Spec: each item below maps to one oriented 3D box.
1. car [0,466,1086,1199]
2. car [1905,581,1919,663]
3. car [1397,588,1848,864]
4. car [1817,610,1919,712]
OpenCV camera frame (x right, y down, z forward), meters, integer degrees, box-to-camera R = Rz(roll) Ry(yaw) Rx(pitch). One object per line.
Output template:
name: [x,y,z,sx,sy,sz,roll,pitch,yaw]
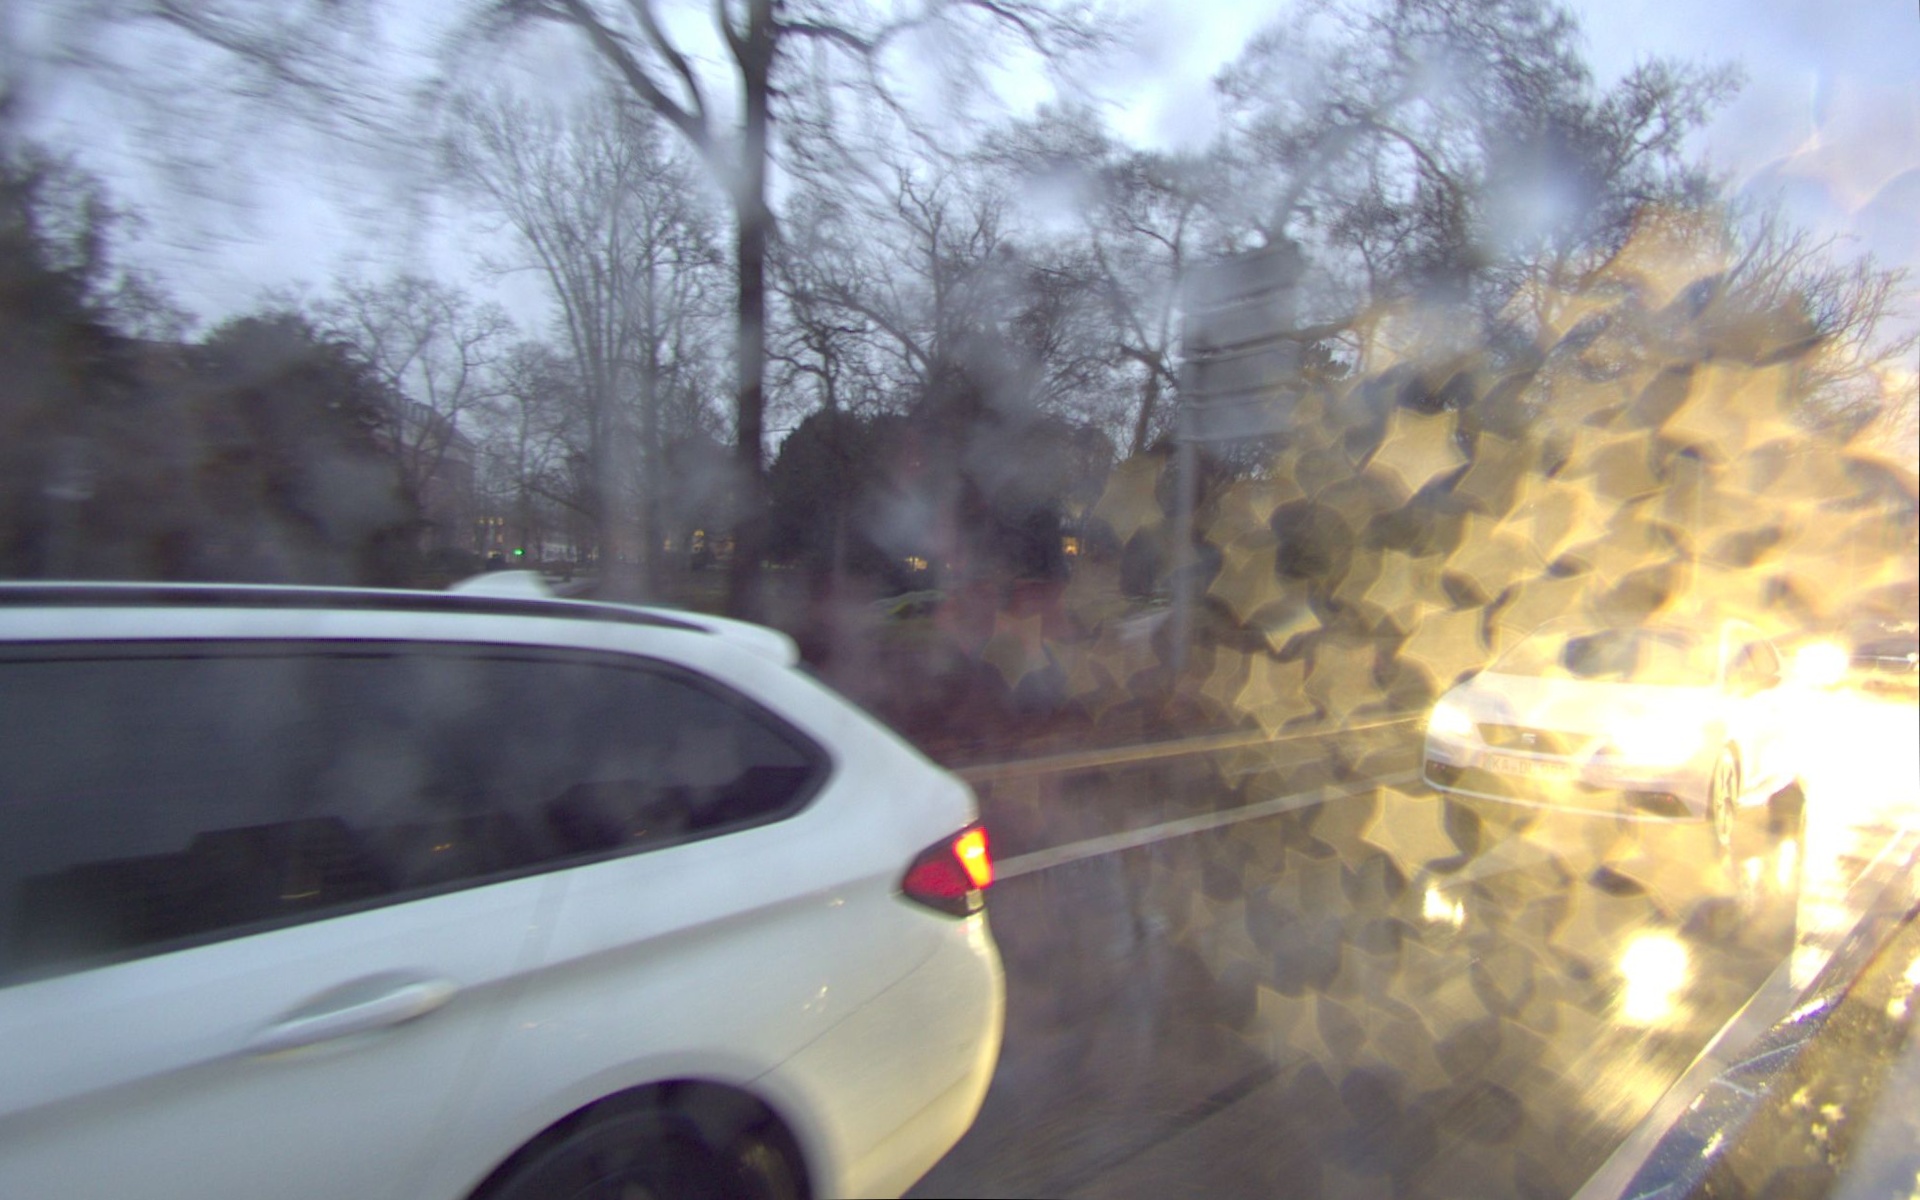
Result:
car: [-2.135,0.610,1.326,4.880,1.520,1.790,0,1,-41]
car: [22.590,0.518,22.660,3.797,1.771,1.678,0,2,-41]
car: [5.103,0.683,7.591,3.970,1.479,1.777,0,2,-41]
car: [16.610,1.005,17.681,4.006,1.517,1.880,0,2,-41]
